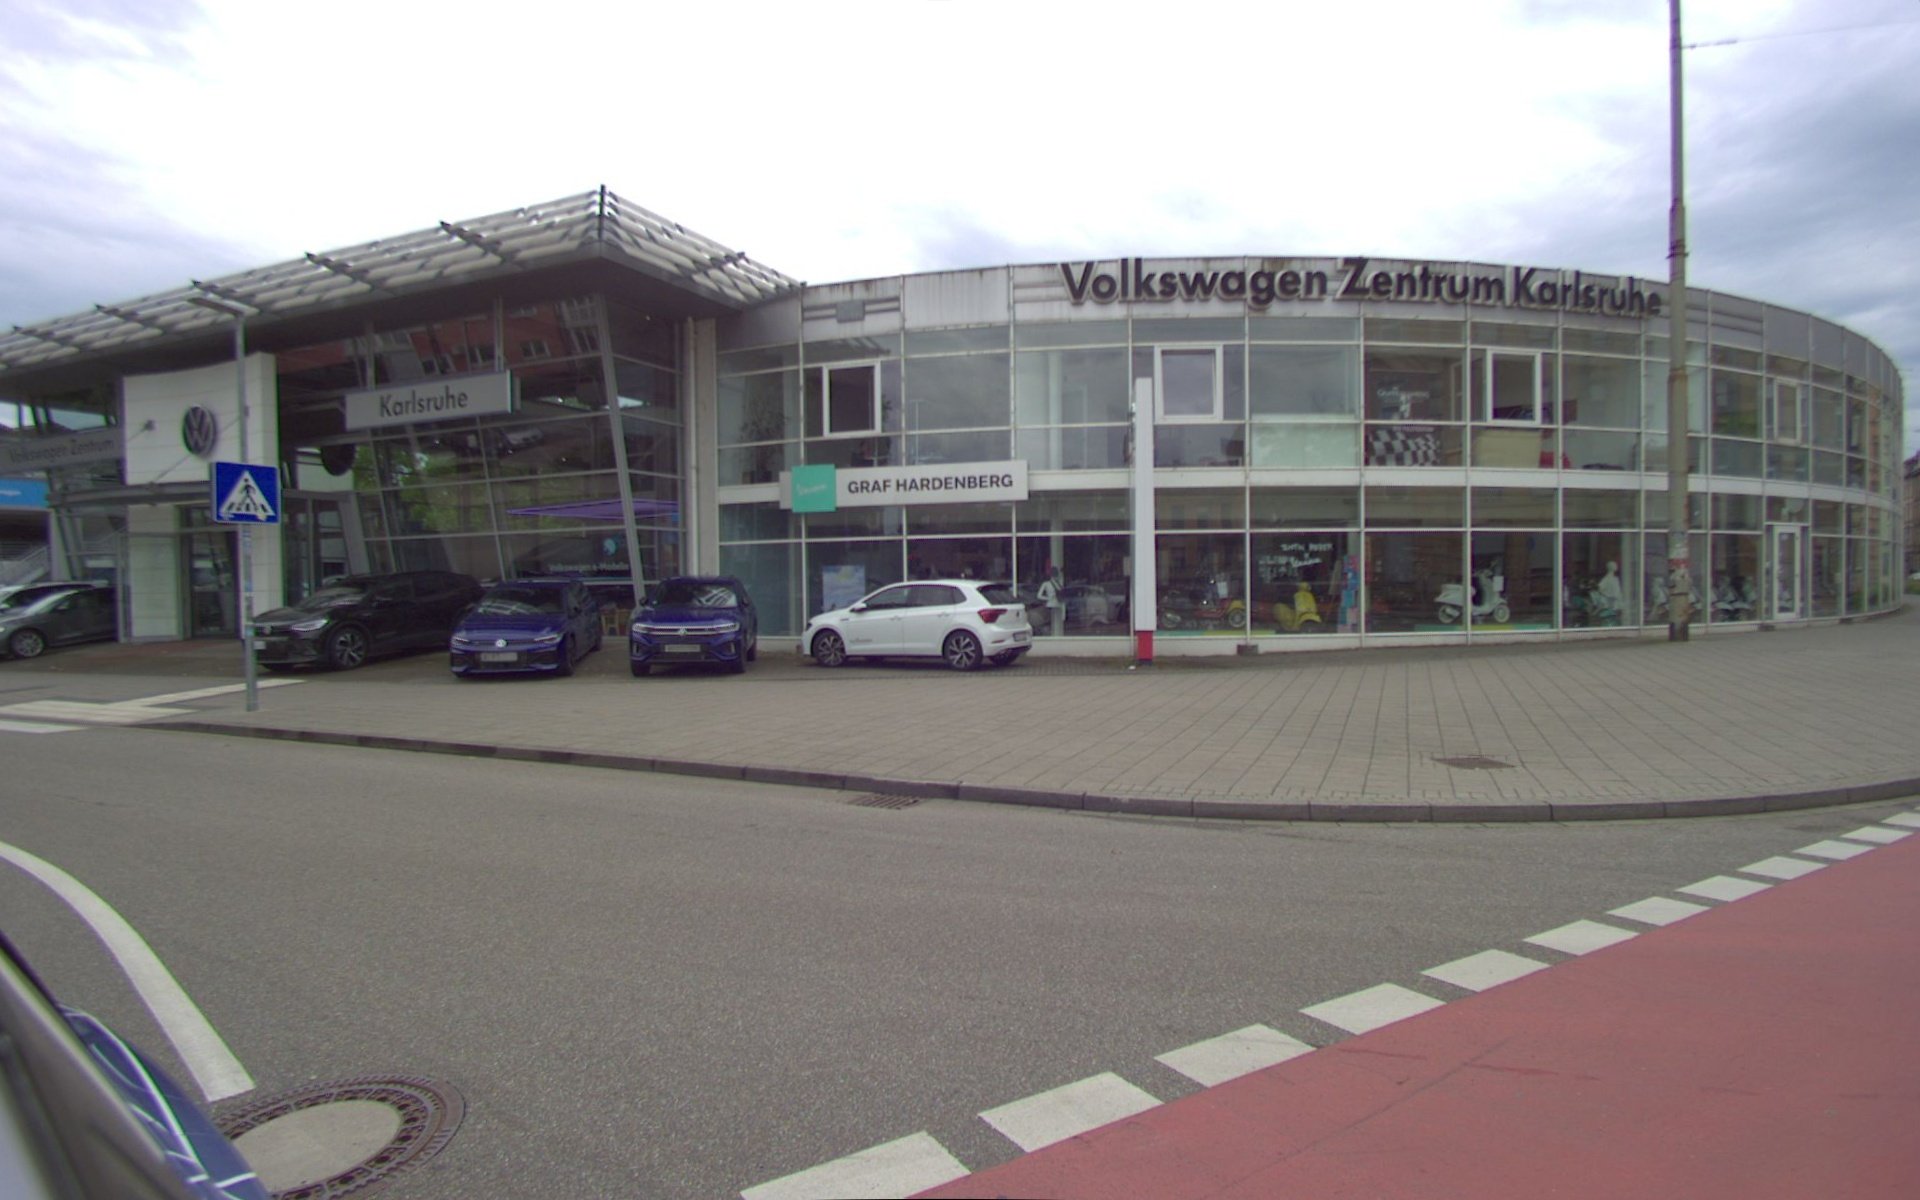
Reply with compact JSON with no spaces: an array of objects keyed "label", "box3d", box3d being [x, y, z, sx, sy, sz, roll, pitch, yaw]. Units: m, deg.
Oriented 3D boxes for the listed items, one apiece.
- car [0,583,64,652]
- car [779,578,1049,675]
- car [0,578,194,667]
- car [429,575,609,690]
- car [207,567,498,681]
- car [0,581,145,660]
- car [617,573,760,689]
[{"label":"car","box3d":[-26.376,0.597,26.100,1.859,1.711,4.441,-2,4,24]},{"label":"car","box3d":[-0.801,0.411,17.036,4.242,1.463,1.767,-1,0,27]},{"label":"car","box3d":[-21.101,0.497,23.850,1.886,1.709,4.442,-2,4,23]},{"label":"car","box3d":[-7.263,0.422,17.144,1.828,1.515,4.350,-1,4,-10]},{"label":"car","box3d":[-11.107,0.348,18.947,1.846,1.644,4.484,-2,4,18]},{"label":"car","box3d":[-23.511,0.555,25.104,1.850,1.711,4.739,-2,4,24]},{"label":"car","box3d":[-4.444,0.401,17.147,1.871,1.574,4.229,-1,3,-9]}]
